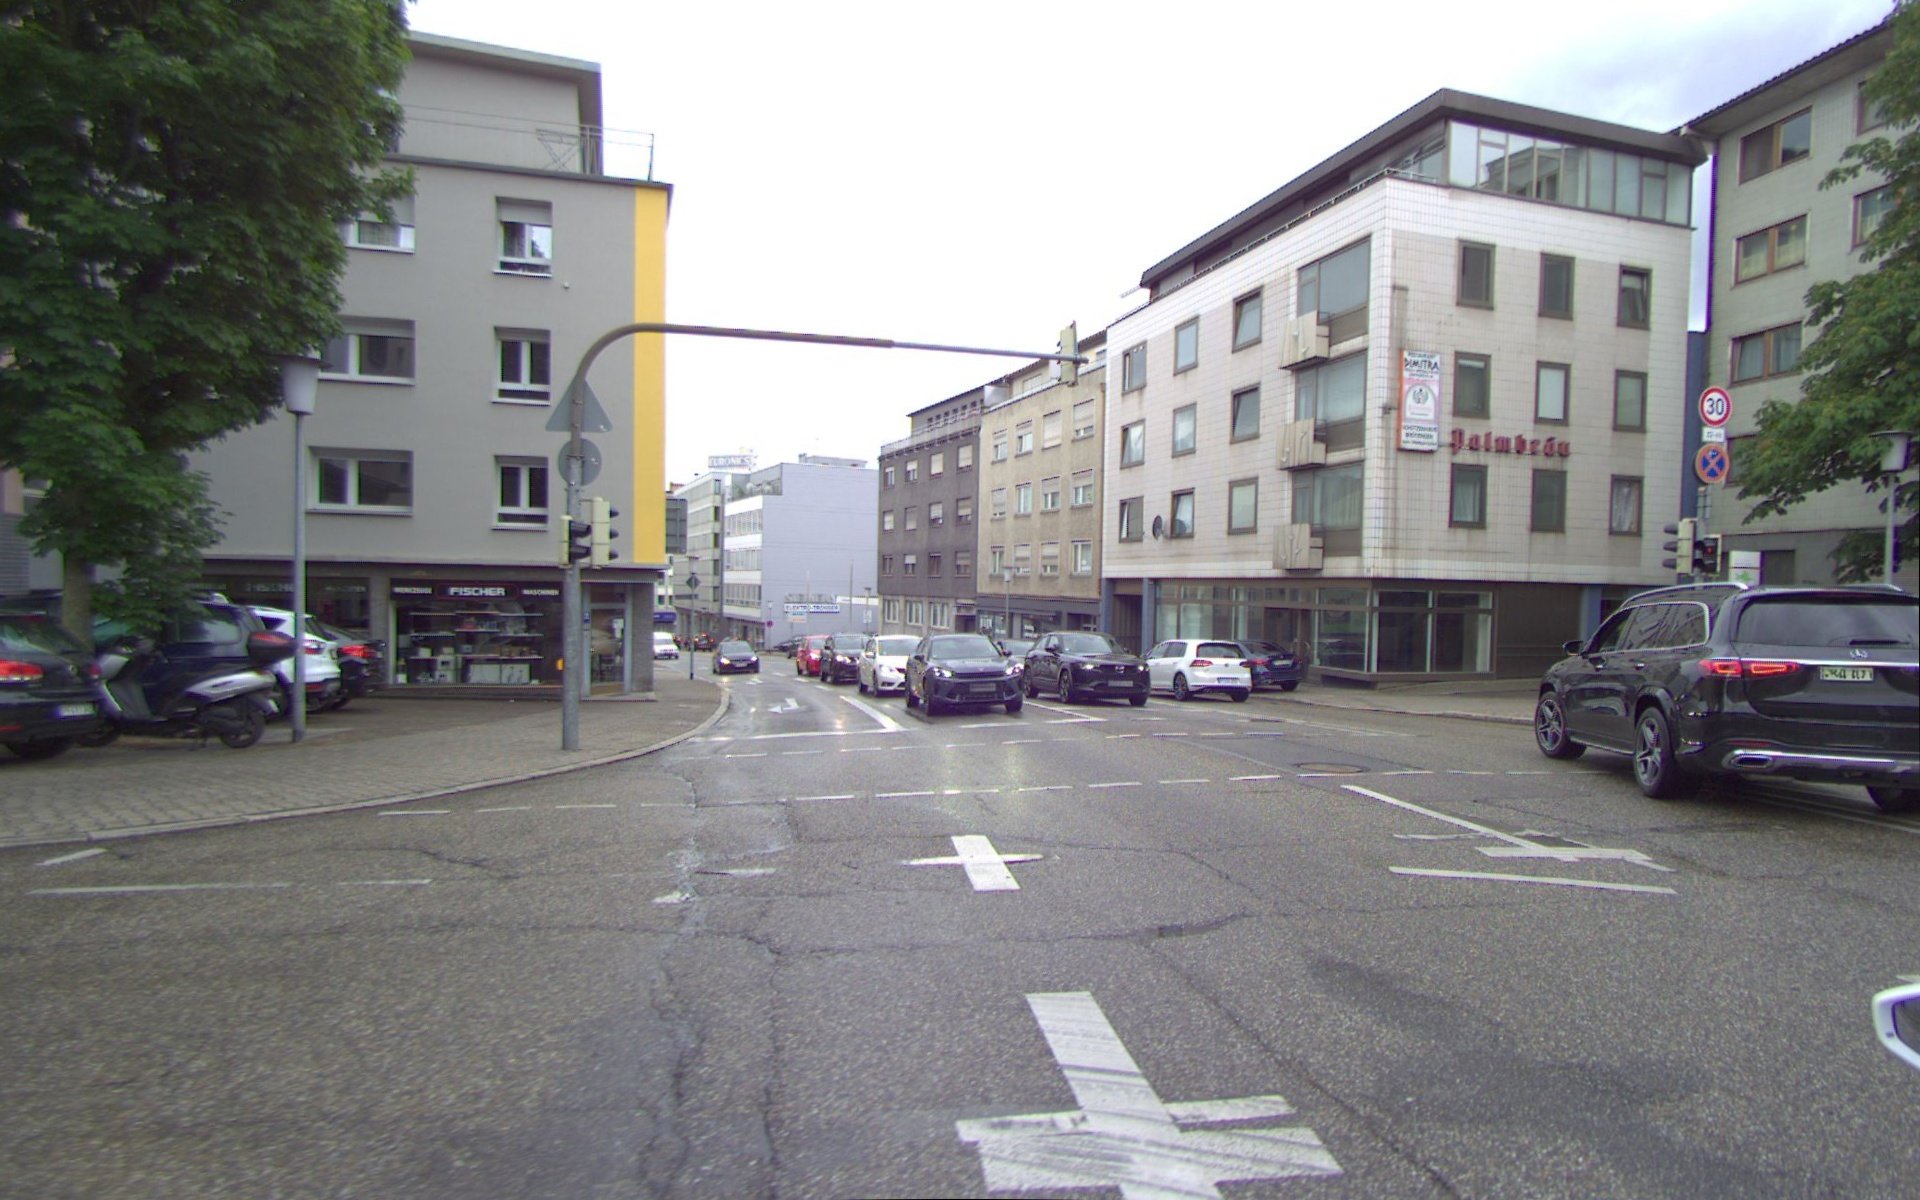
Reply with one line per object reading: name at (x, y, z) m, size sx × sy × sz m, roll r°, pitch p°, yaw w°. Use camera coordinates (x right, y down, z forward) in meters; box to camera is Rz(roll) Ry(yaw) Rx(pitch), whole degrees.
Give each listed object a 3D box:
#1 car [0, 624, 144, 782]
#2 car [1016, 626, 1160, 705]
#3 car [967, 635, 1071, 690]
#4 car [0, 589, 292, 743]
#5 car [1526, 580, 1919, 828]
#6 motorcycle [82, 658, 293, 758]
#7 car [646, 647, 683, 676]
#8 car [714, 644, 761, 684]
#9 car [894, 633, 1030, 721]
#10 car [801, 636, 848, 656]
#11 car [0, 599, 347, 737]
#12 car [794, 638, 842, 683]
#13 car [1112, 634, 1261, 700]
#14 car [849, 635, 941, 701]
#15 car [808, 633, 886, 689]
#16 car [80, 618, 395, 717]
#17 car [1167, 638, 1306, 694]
car at (-10.351, 0.863, 9.273) m, size 3.931 × 1.377 × 1.734 m, roll 3°, pitch -3°, yaw -13°
car at (2.681, 1.451, 22.094) m, size 1.793 × 1.556 × 4.370 m, roll 1°, pitch -4°, yaw -12°
car at (1.580, 1.784, 28.756) m, size 1.782 × 1.433 × 4.368 m, roll 1°, pitch -3°, yaw -14°
car at (-10.963, 0.840, 12.499) m, size 4.301 × 1.750 × 1.758 m, roll 4°, pitch -5°, yaw -33°
car at (7.134, 0.814, 9.549) m, size 1.986 × 1.762 × 4.750 m, roll 0°, pitch -2°, yaw 16°
motorcycle at (-8.536, 1.196, 11.170) m, size 1.767 × 1.046 × 0.451 m, roll 2°, pitch -2°, yaw -19°
car at (-20.239, 4.224, 68.687) m, size 1.711 × 1.853 × 4.033 m, roll 0°, pitch -3°, yaw -27°
car at (-9.958, 2.814, 44.865) m, size 1.712 × 1.617 × 3.763 m, roll 1°, pitch -1°, yaw -17°
car at (-0.086, 1.422, 19.865) m, size 1.793 × 1.497 × 4.369 m, roll 1°, pitch -2°, yaw -12°
car at (-12.336, 4.212, 91.638) m, size 1.775 × 1.617 × 3.976 m, roll -3°, pitch -6°, yaw 45°
car at (-11.486, 0.997, 14.839) m, size 3.948 × 1.817 × 1.849 m, roll 1°, pitch -4°, yaw -27°
car at (-5.701, 2.379, 40.122) m, size 1.582 × 1.617 × 3.768 m, roll 1°, pitch -1°, yaw -13°
car at (5.558, 1.675, 25.270) m, size 1.806 × 1.480 × 4.365 m, roll 2°, pitch -4°, yaw -16°
car at (-1.814, 1.725, 26.603) m, size 1.781 × 1.563 × 4.369 m, roll 1°, pitch -2°, yaw -12°
car at (-3.844, 2.024, 33.505) m, size 1.783 × 1.652 × 4.328 m, roll -1°, pitch -3°, yaw -17°
car at (-11.952, 1.185, 16.997) m, size 3.945 × 1.515 × 1.850 m, roll 3°, pitch -5°, yaw -24°
car at (7.735, 1.858, 28.557) m, size 1.740 × 1.410 × 4.365 m, roll -1°, pitch -3°, yaw -16°
